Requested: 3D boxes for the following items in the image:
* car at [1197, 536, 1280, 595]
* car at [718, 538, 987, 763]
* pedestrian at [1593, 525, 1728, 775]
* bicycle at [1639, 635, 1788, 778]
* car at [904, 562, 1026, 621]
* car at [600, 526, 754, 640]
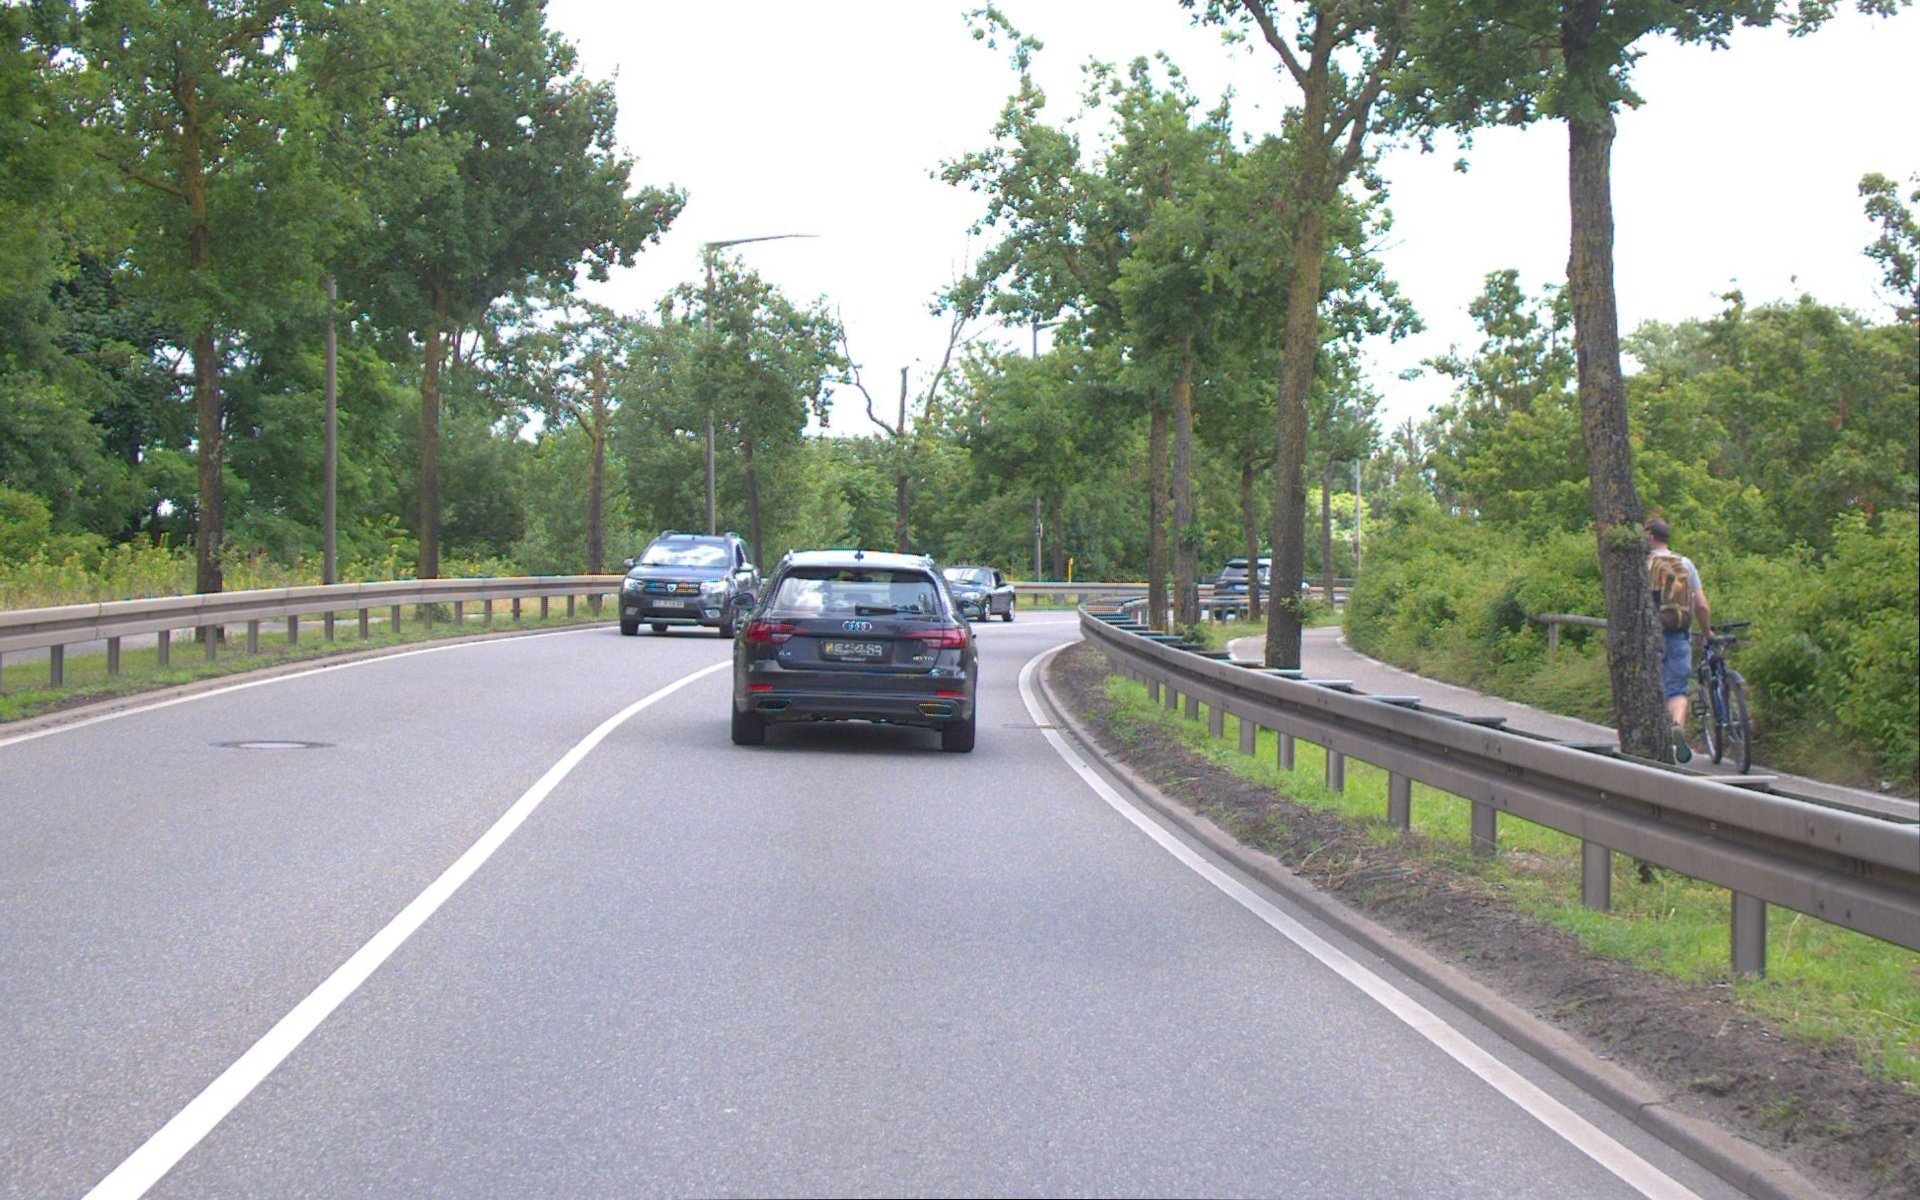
[{"bbox_3d":[7.374,-0.928,90.680,1.579,1.515,3.998,1,1,14],"label":"car"},{"bbox_3d":[-0.754,0.315,26.145,1.828,1.486,4.207,2,1,0],"label":"car"},{"bbox_3d":[4.695,0.321,23.105,0.657,1.636,1.055,-1,1,-2],"label":"pedestrian"},{"bbox_3d":[5.066,0.702,23.206,0.556,0.866,1.826,-1,1,-2],"label":"bicycle"},{"bbox_3d":[0.136,-0.199,76.280,1.594,1.214,3.787,3,1,17],"label":"car"},{"bbox_3d":[-4.273,-0.288,52.478,1.781,1.601,4.158,2,1,3],"label":"car"}]
